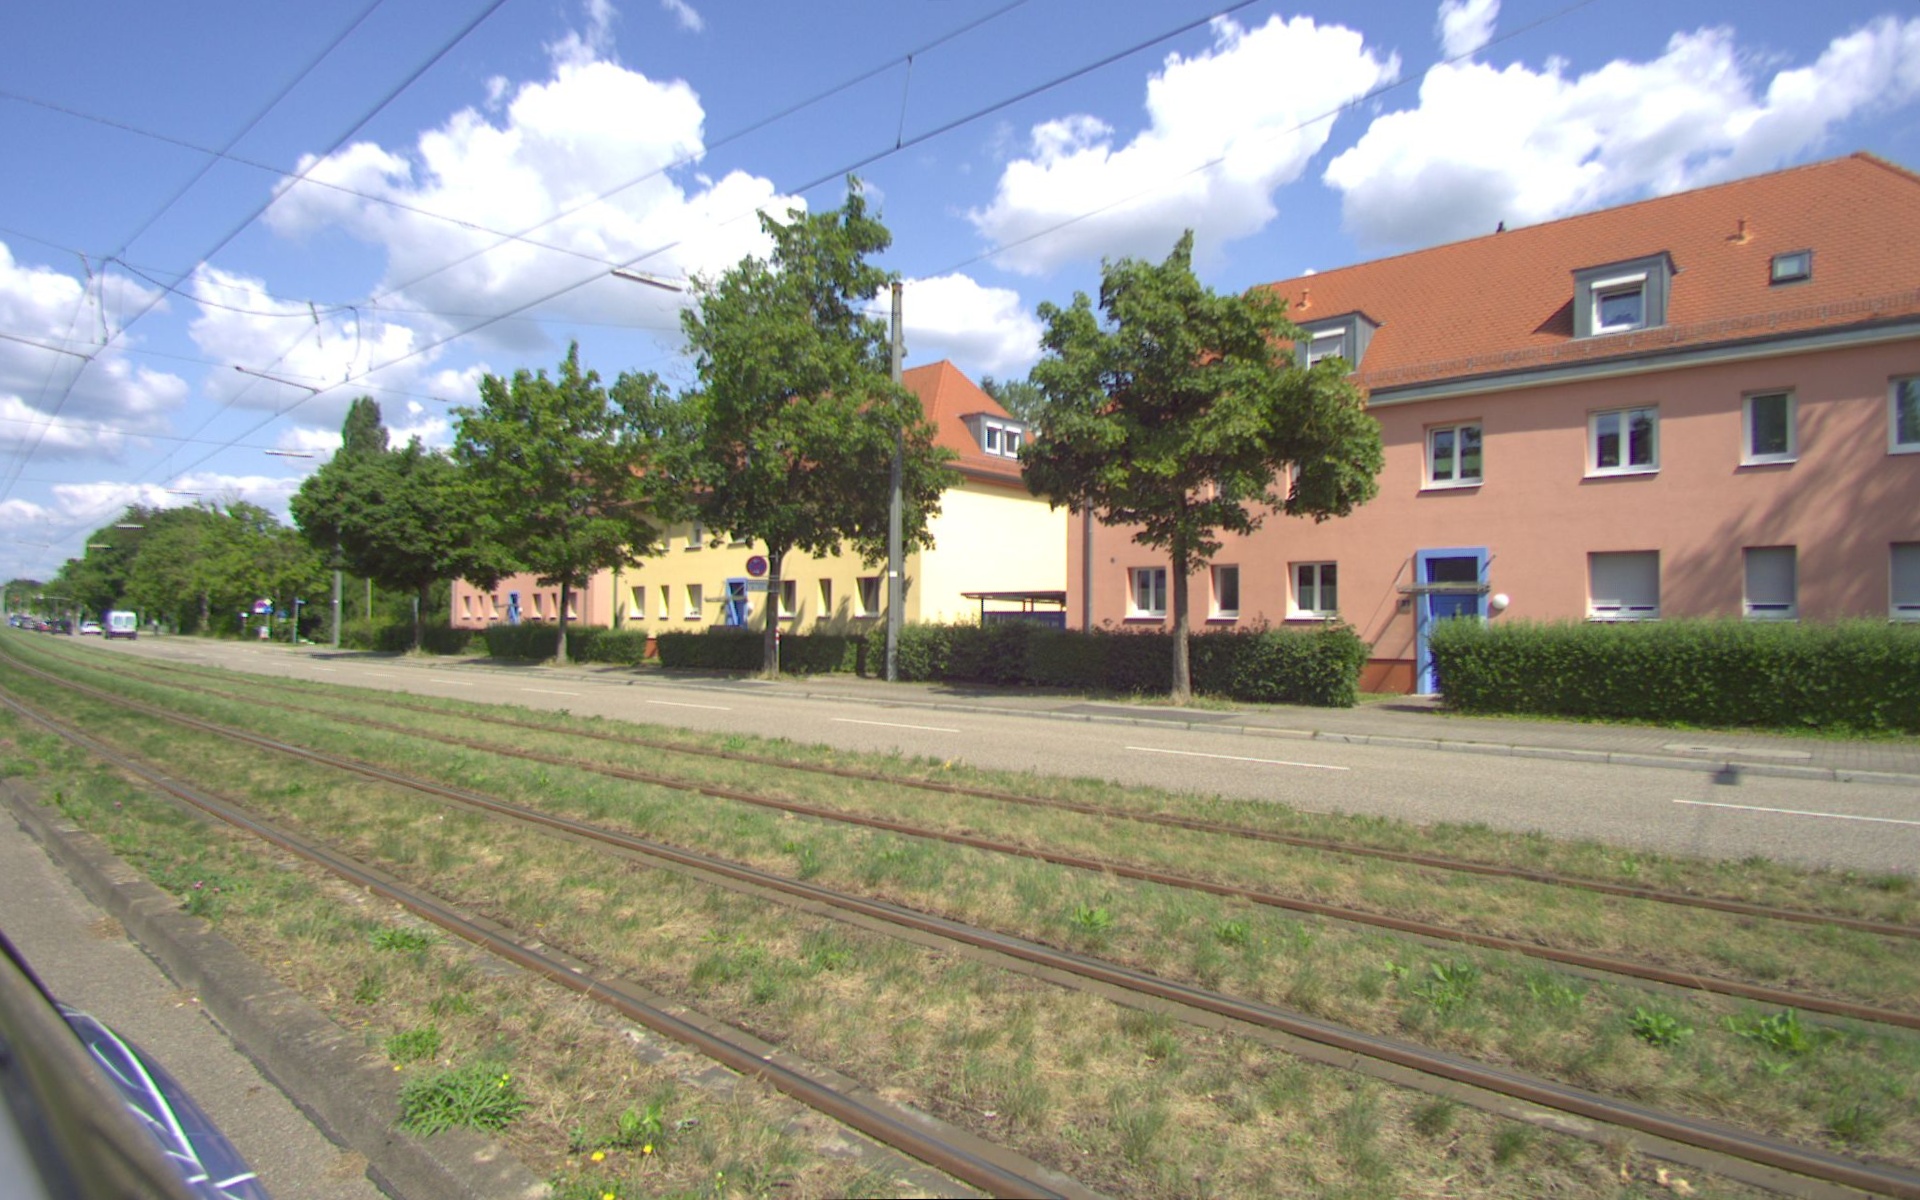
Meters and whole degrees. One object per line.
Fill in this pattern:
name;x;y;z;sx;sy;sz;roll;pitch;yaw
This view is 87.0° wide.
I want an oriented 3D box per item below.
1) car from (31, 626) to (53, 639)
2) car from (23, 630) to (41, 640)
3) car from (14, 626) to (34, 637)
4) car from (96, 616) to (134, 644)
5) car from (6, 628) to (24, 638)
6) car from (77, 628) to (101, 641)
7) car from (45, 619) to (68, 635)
car;-114.919;4.099;126.715;4.277;1.591;1.708;-2;-3;44
car;-126.143;4.736;137.585;1.707;1.405;4.280;2;-3;-44
car;-139.089;4.657;150.371;2.091;1.664;4.280;2;-3;-44
car;-77.870;2.782;93.257;5.780;2.455;2.009;-2;-4;45
car;-159.992;5.521;171.378;2.091;1.664;4.280;2;-3;-44
car;-99.428;3.940;115.491;4.278;1.442;1.666;-2;-3;45
car;-99.881;3.001;111.855;4.229;1.760;1.666;-2;-3;45
